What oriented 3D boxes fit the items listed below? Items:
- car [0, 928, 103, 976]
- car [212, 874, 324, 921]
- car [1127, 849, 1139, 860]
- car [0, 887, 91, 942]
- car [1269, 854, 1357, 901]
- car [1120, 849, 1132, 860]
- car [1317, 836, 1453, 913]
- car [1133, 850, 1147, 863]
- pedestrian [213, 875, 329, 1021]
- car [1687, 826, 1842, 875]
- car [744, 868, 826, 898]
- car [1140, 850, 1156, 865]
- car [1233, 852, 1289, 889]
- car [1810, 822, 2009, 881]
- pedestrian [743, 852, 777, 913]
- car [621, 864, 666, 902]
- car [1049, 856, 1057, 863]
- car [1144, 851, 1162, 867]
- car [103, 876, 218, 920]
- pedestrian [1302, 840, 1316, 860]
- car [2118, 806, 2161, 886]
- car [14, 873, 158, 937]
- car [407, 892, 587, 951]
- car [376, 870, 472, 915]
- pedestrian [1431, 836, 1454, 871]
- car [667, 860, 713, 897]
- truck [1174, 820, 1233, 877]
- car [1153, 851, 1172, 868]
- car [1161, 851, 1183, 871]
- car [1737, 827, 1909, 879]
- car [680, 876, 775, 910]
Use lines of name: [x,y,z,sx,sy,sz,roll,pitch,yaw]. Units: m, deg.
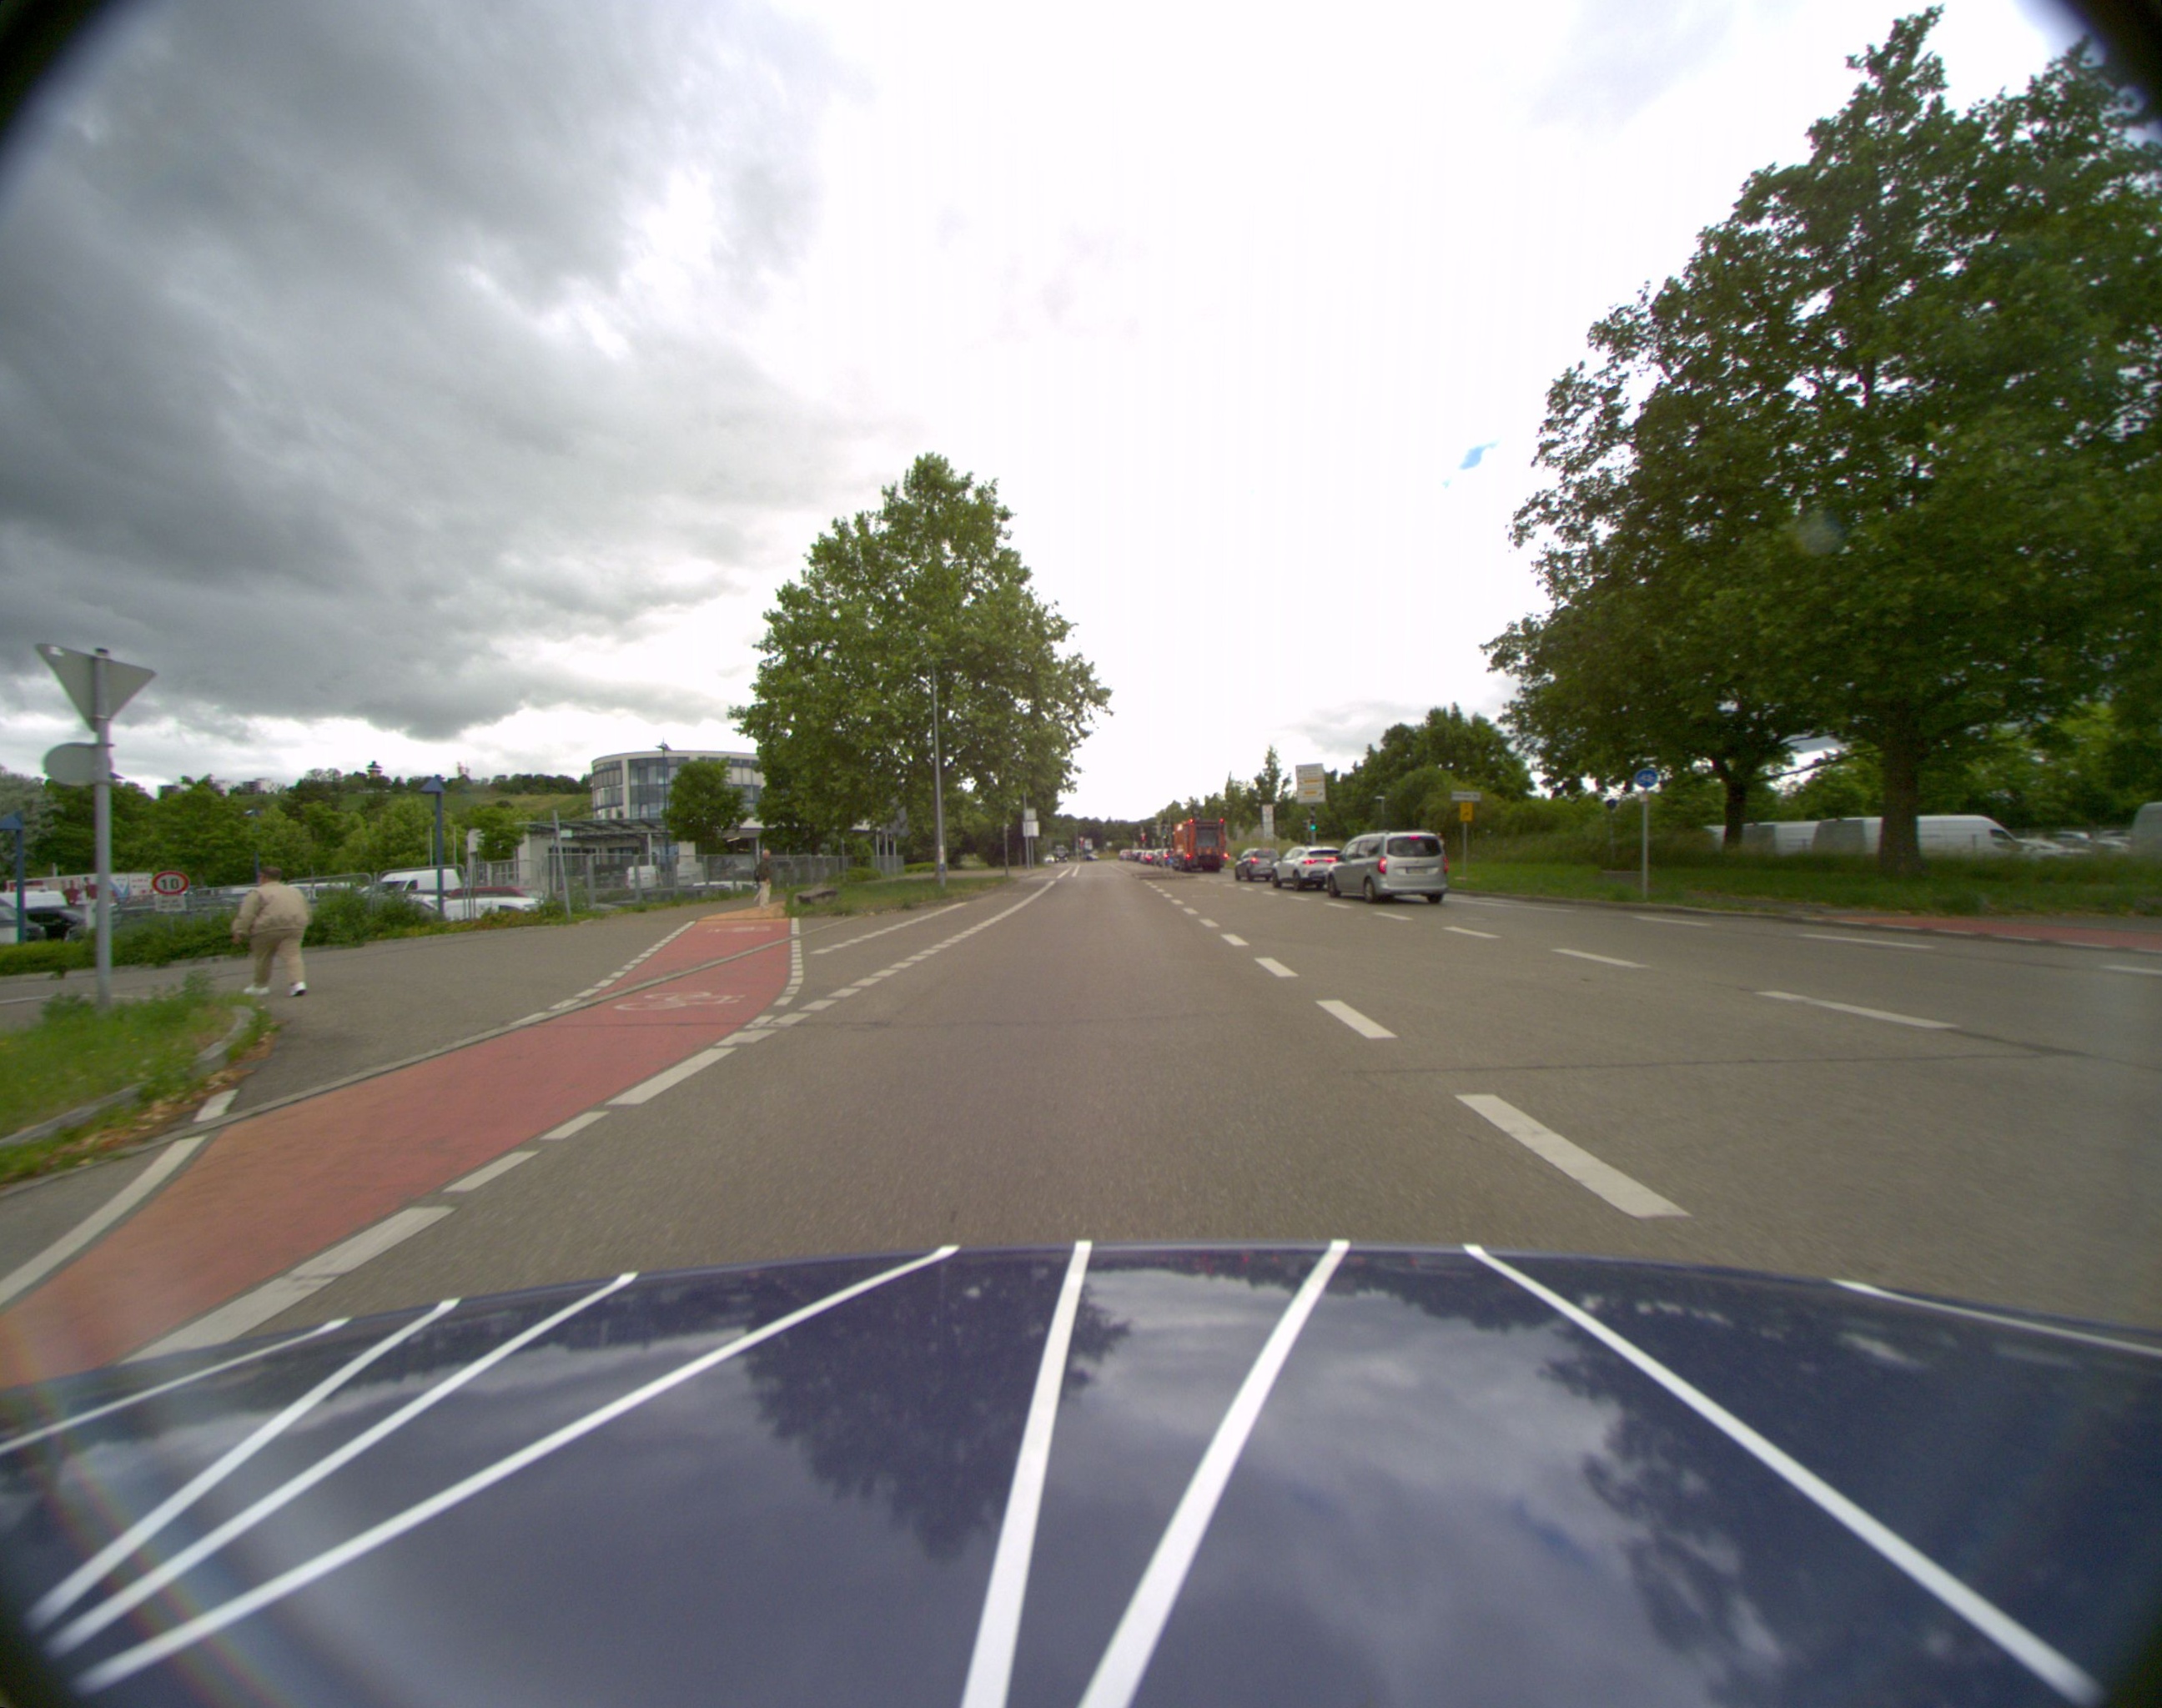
car: [-35.423,3.347,24.992,3.996,1.310,2.001,-6,-1,3]
car: [-51.669,2.696,48.421,2.220,2.739,4.484,-2,-1,1]
car: [7.612,0.072,110.889,1.591,1.608,3.584,-2,0,2]
car: [-52.941,3.020,37.685,4.481,2.508,2.221,-2,-1,-4]
car: [7.966,0.751,26.486,1.733,1.477,4.122,-1,0,-1]
car: [6.907,0.108,116.669,1.591,1.608,3.584,-2,0,2]
car: [7.986,0.487,20.445,1.833,1.759,4.406,-3,0,0]
car: [7.566,0.274,97.799,1.591,1.608,3.584,-2,0,2]
pedestrian: [-9.580,1.059,8.989,0.941,1.558,0.814,1,2,38]
car: [29.446,-0.156,32.823,5.299,2.002,1.739,0,1,-3]
car: [-17.876,1.728,46.015,4.189,1.440,1.818,-5,-1,-3]
car: [7.739,0.429,87.573,1.591,1.608,3.584,-2,0,2]
car: [8.057,0.698,34.283,1.639,1.553,3.350,-2,0,-1]
car: [29.404,-0.114,27.055,5.298,2.002,1.739,0,1,-2]
pedestrian: [-9.174,0.812,21.737,0.734,1.717,0.501,-1,1,-5]
car: [-27.885,1.836,48.336,2.119,2.261,4.473,-2,-1,-34]
car: [-5.989,1.269,164.315,1.592,1.480,3.582,-2,0,-3]
car: [7.661,0.535,81.207,1.591,1.608,3.584,-2,0,2]
car: [-62.423,2.905,51.665,2.220,2.739,4.484,-2,-1,1]
pedestrian: [16.847,-0.290,56.176,0.757,1.439,0.639,-3,1,-2]
car: [29.849,-0.214,19.010,5.299,2.002,2.011,0,1,-3]
car: [-53.450,2.703,40.919,4.519,3.179,2.221,-2,-1,-4]
car: [-18.047,2.071,23.619,3.997,1.310,2.001,-6,-1,1]
car: [-42.654,2.424,49.473,2.220,2.739,4.484,-2,-1,1]
pedestrian: [18.077,-0.026,38.015,0.757,1.727,0.638,-3,1,-10]
car: [-25.340,1.583,49.166,2.119,2.261,4.473,-2,-1,-34]
truck: [8.066,-0.342,51.034,2.831,3.460,7.823,-2,0,2]
car: [7.989,0.518,74.616,1.591,1.608,3.584,-2,0,2]
car: [7.919,0.579,66.209,1.591,1.608,3.351,-2,0,2]
car: [29.443,-0.054,30.222,5.299,2.002,1.739,0,1,-3]
car: [-18.947,2.088,40.861,4.189,1.440,1.818,-5,-1,-3]
